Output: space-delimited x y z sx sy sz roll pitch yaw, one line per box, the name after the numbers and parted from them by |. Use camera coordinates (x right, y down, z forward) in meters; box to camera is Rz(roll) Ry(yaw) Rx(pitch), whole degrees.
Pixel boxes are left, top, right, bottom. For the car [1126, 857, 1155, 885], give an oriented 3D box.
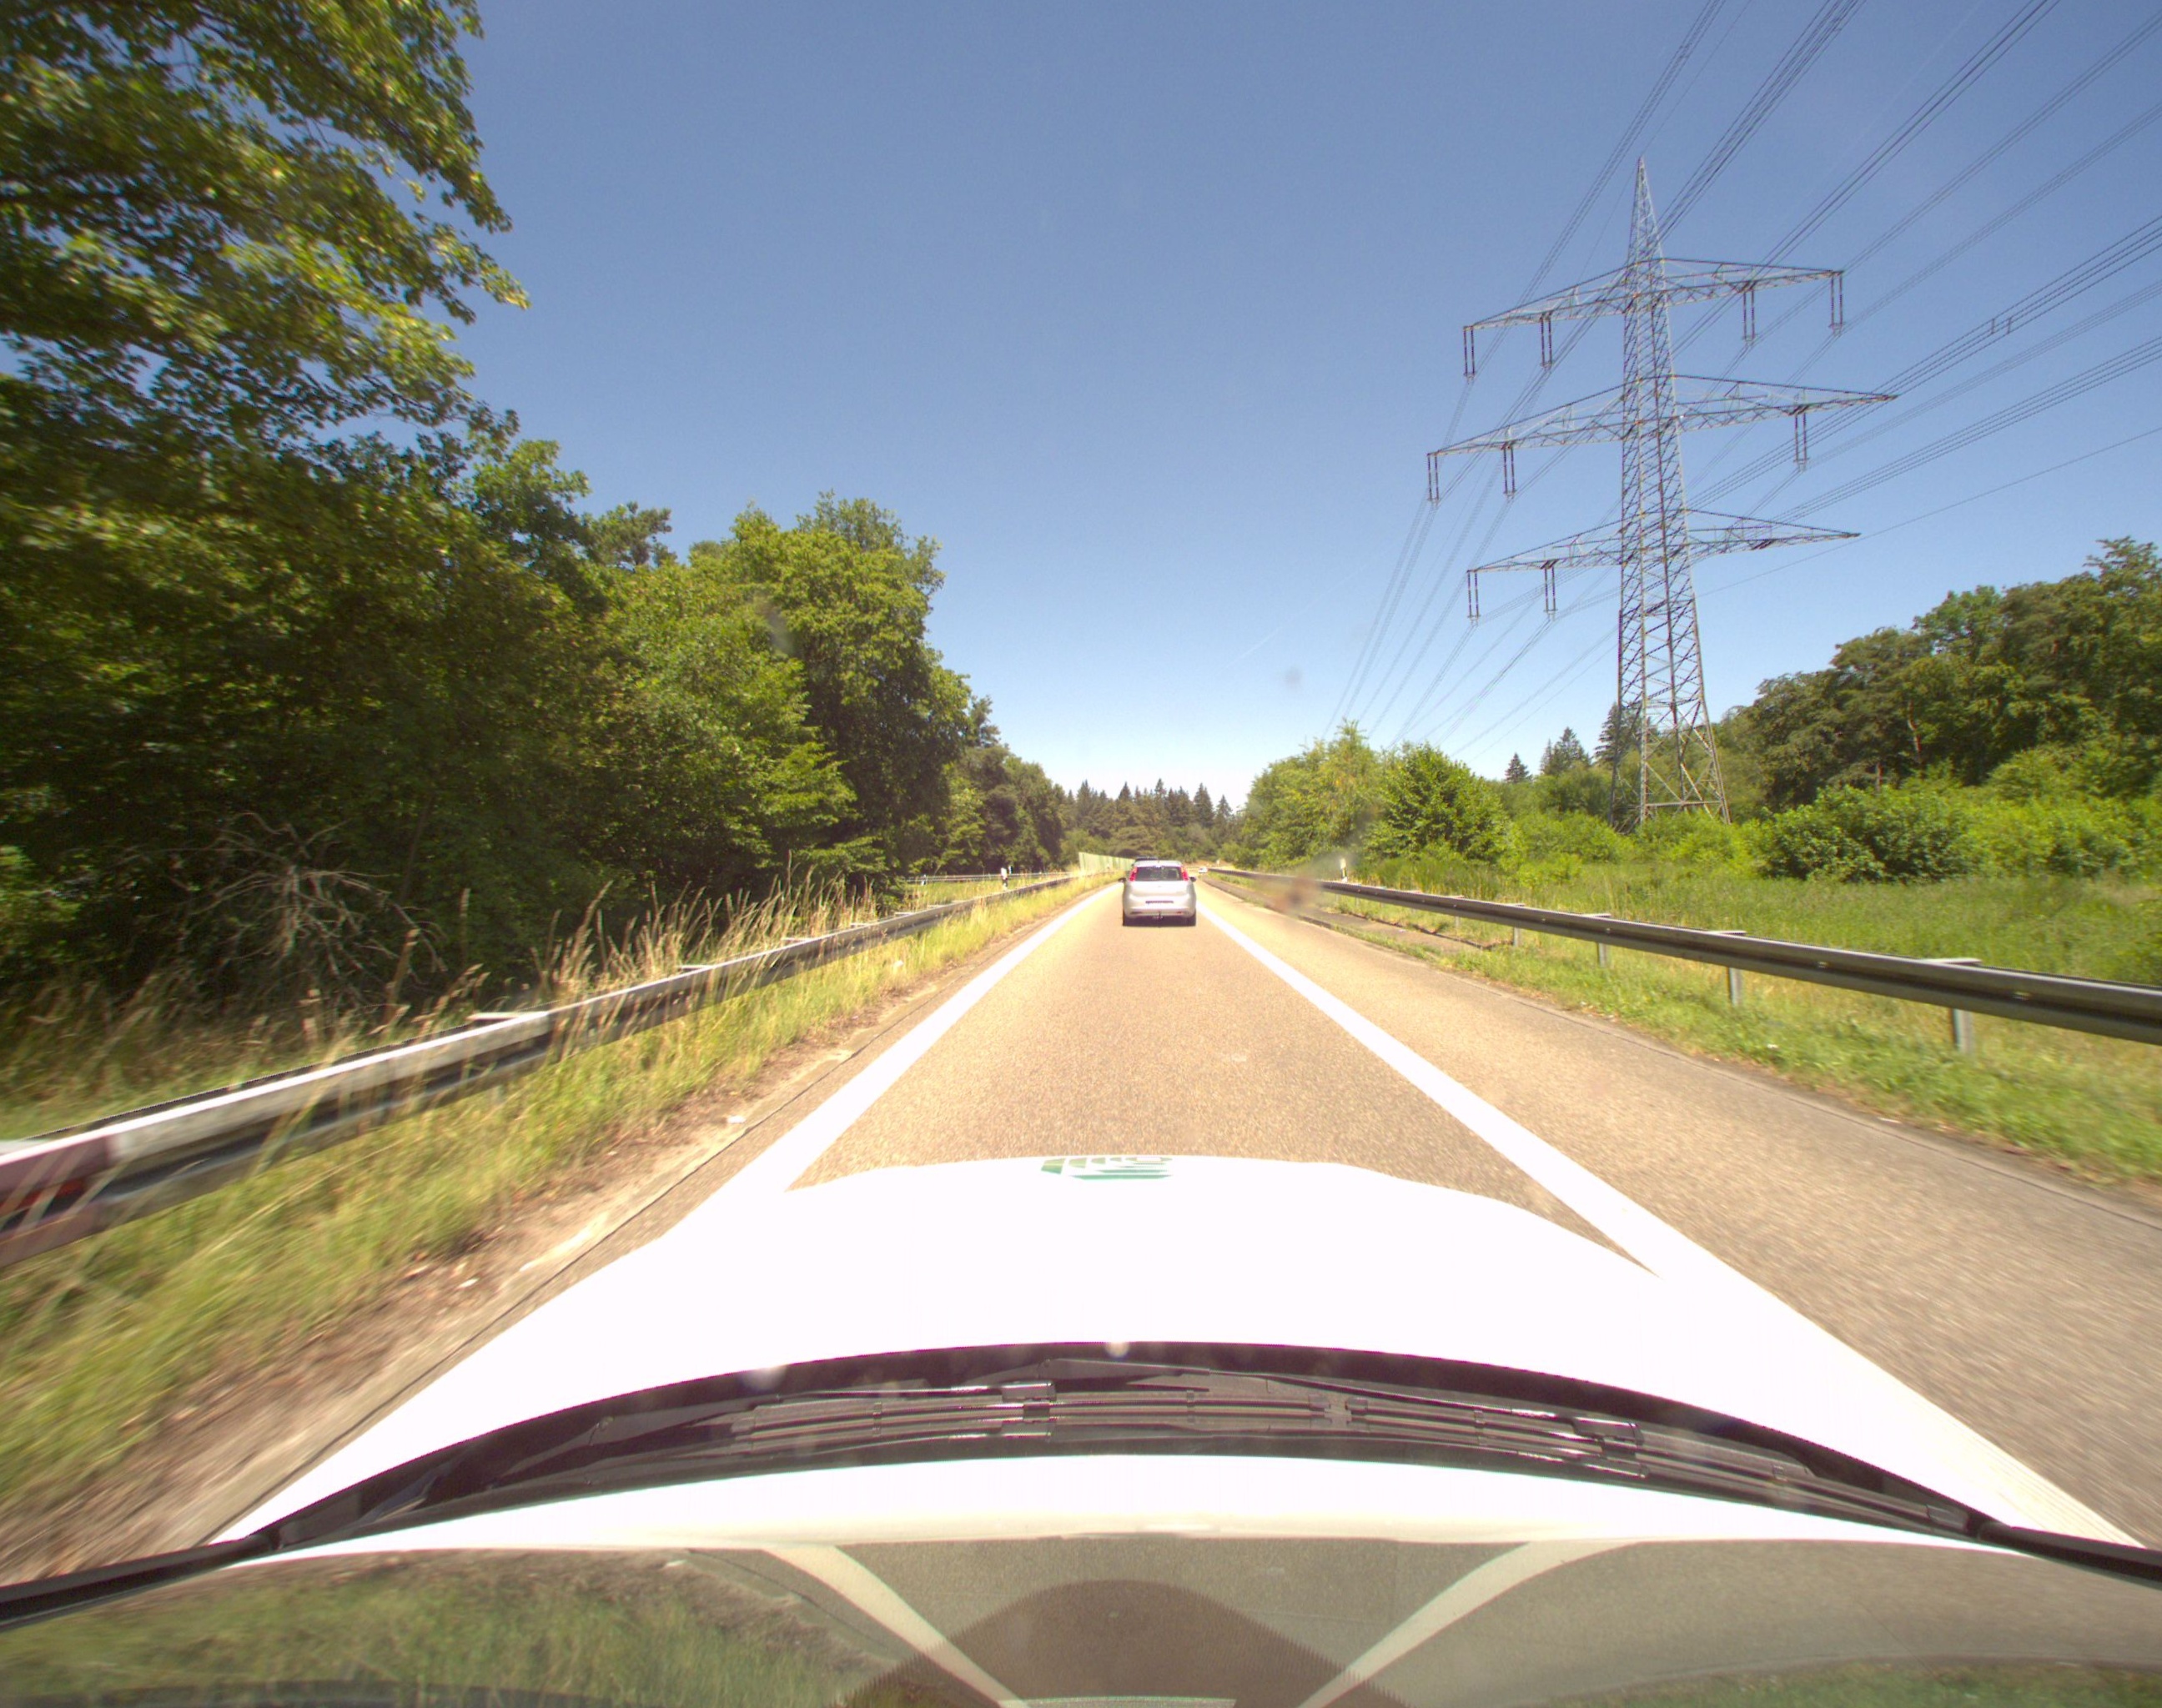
3.760 1.025 50.962 1.698 1.676 3.402 -1 -1 5 | car

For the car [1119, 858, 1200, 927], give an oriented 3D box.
1.792 0.848 19.400 1.700 1.482 3.399 -1 -1 2 | car

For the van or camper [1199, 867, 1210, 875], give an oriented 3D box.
25.932 3.563 170.831 1.793 1.486 4.018 -1 -1 18 | van or camper
